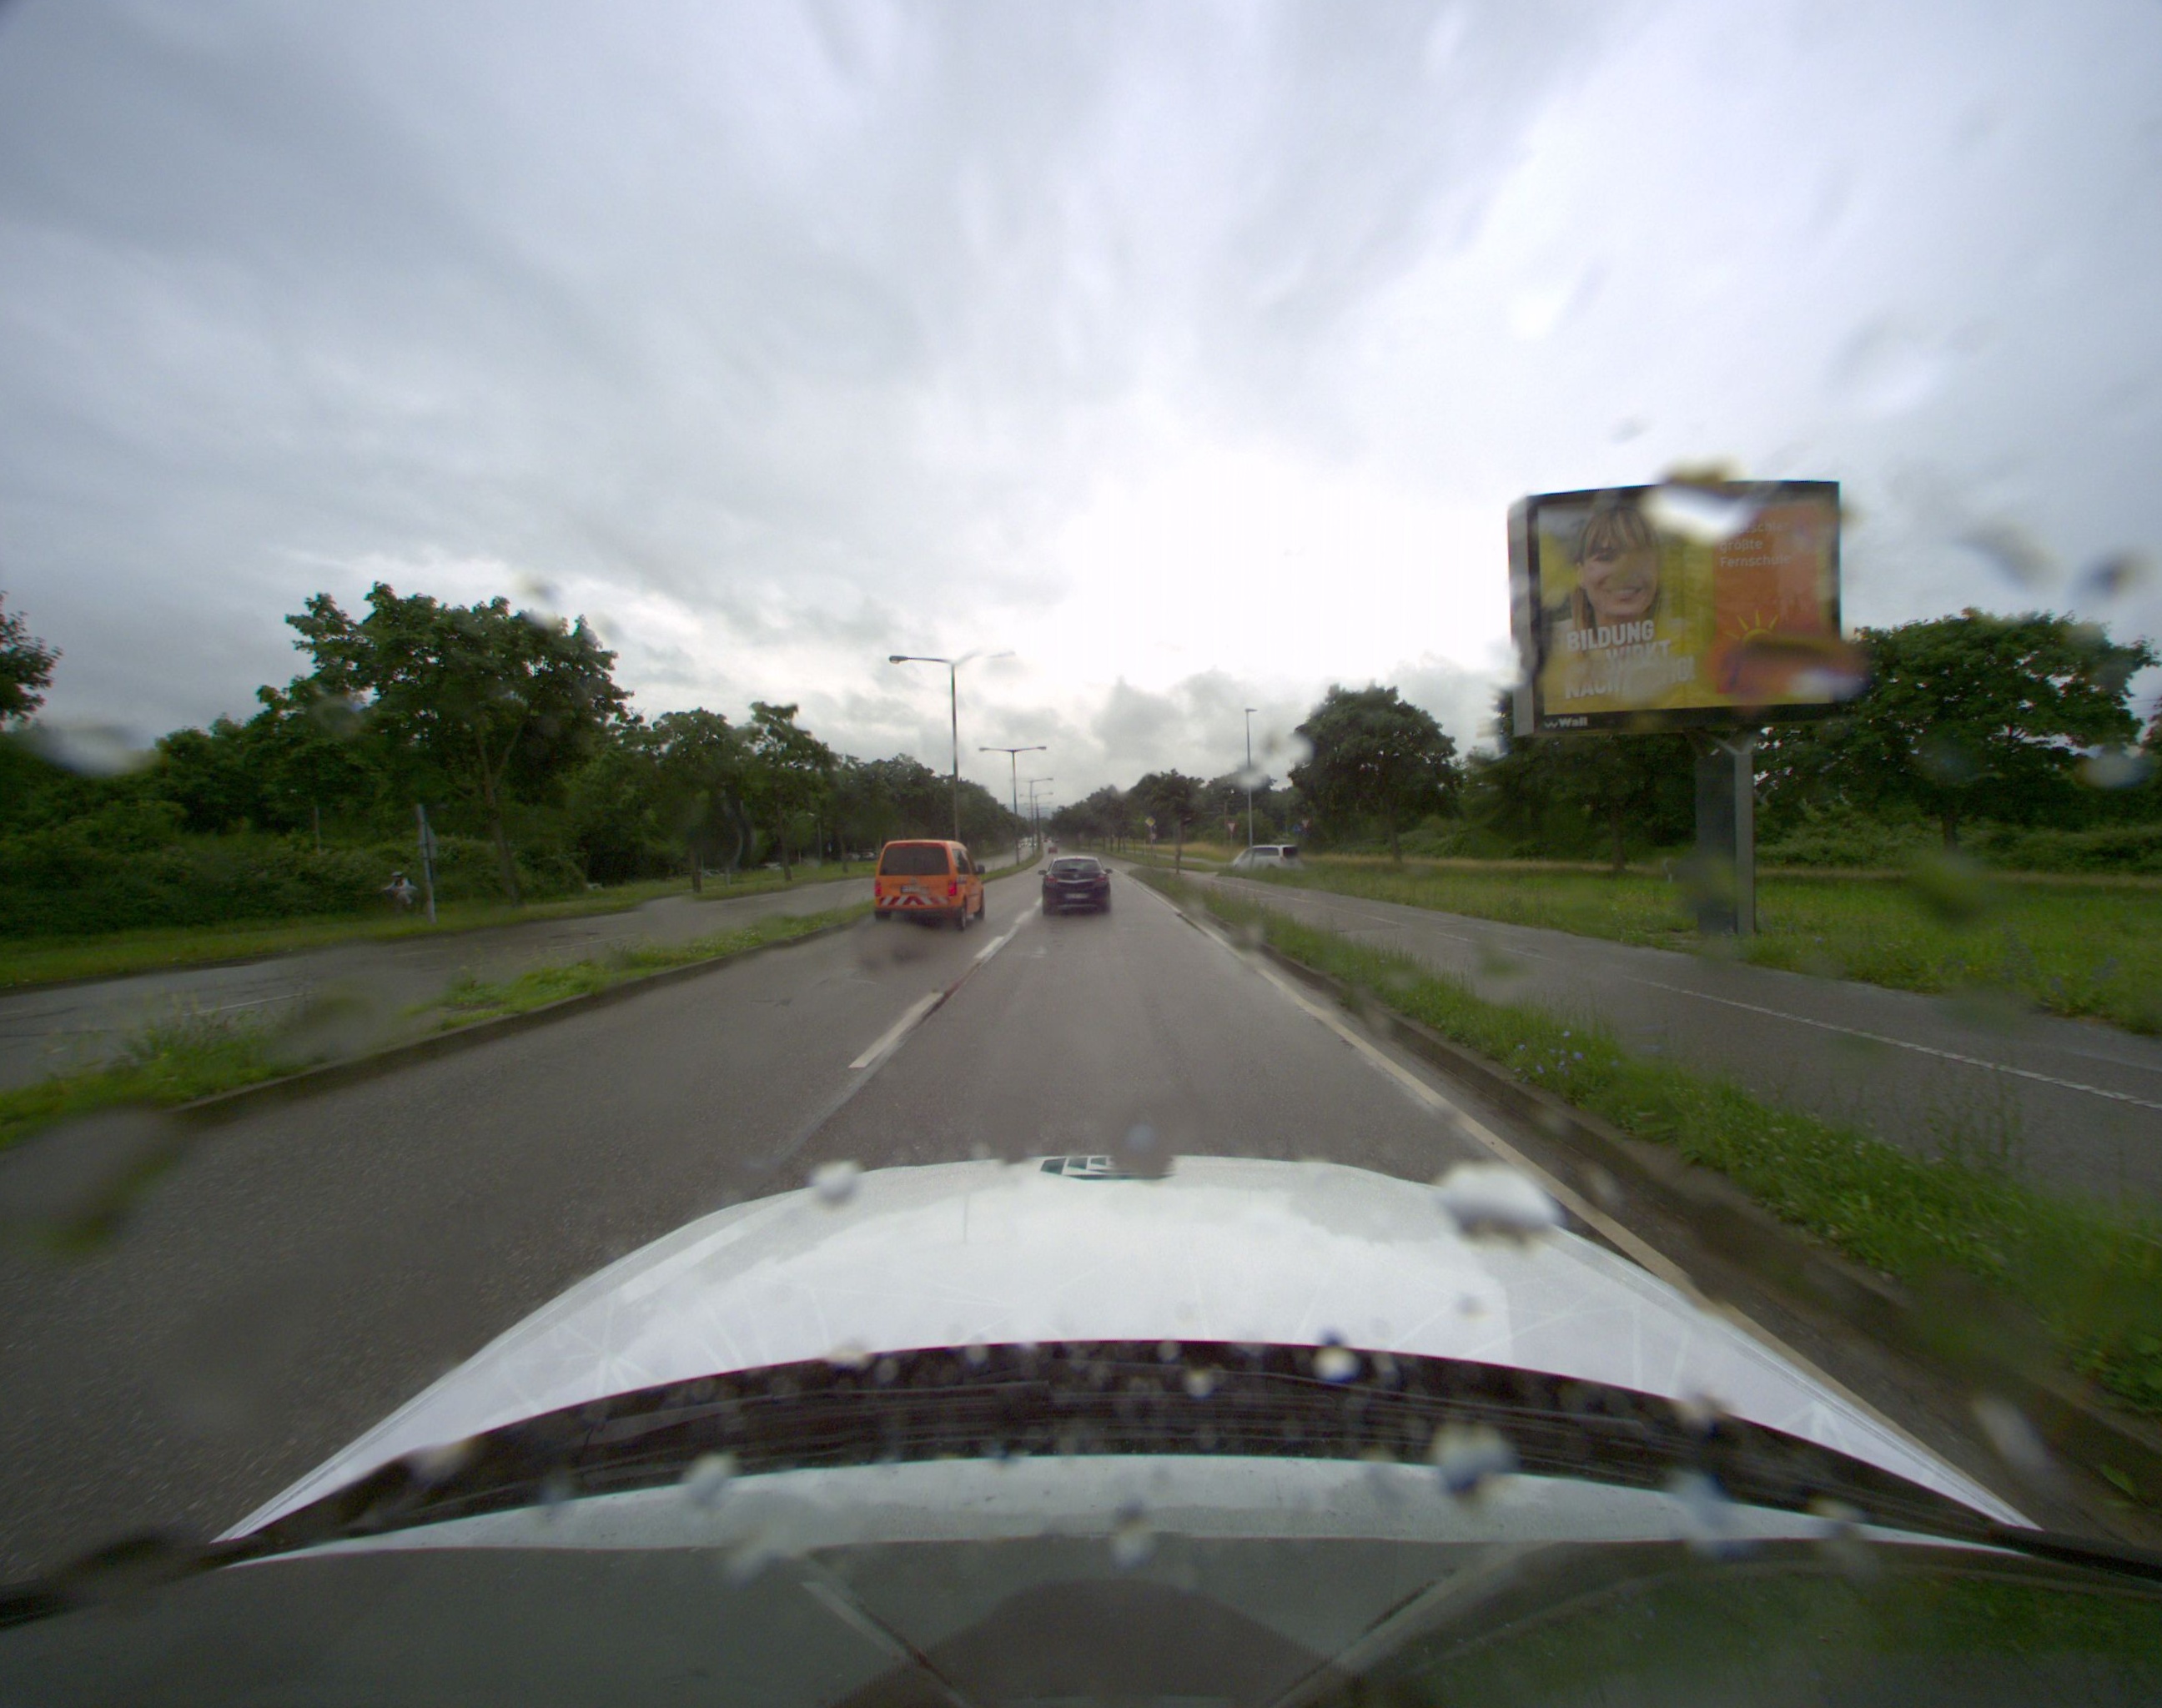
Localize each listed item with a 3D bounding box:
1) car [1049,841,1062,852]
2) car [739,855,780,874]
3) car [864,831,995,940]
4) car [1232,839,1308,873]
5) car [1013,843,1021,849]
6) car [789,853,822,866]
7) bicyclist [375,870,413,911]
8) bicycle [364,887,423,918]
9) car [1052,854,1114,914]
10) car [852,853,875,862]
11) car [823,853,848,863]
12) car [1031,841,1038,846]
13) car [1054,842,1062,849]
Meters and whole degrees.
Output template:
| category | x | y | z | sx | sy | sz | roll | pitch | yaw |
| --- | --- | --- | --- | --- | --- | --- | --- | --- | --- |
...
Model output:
| category | x | y | z | sx | sy | sz | roll | pitch | yaw |
| --- | --- | --- | --- | --- | --- | --- | --- | --- | --- |
| car | -4.554 | -1.338 | 146.938 | 1.986 | 1.879 | 4.001 | -1 | 0 | 1 |
| car | -37.858 | 1.193 | 95.926 | 3.982 | 2.013 | 1.996 | -2 | 1 | -7 |
| car | -3.055 | 0.572 | 17.498 | 1.728 | 2.019 | 4.852 | 0 | 0 | 2 |
| car | 11.493 | 0.110 | 49.825 | 2.070 | 1.974 | 4.569 | -1 | 0 | -26 |
| car | -16.232 | -2.079 | 207.189 | 1.677 | 1.554 | 4.000 | 0 | 0 | 0 |
| car | -38.304 | 0.755 | 113.163 | 3.982 | 1.640 | 1.907 | -2 | 1 | -7 |
| bicyclist | -22.374 | 1.184 | 26.536 | 0.520 | 1.302 | 0.808 | -1 | 0 | 1 |
| bicycle | -22.369 | 1.561 | 26.531 | 0.520 | 0.886 | 1.634 | -1 | 0 | 2 |
| car | 0.097 | 0.719 | 21.300 | 1.458 | 1.328 | 3.759 | -1 | 1 | 1 |
| car | -41.040 | 0.658 | 153.726 | 3.831 | 1.452 | 1.521 | -2 | 1 | -7 |
| car | -40.134 | 0.684 | 133.224 | 3.730 | 1.426 | 1.485 | -2 | 1 | -7 |
| car | -14.411 | -3.284 | 251.427 | 1.822 | 1.450 | 3.807 | -2 | 1 | -1 |
| car | -7.235 | -2.820 | 259.481 | 2.510 | 2.052 | 5.289 | -2 | 0 | -2 |
